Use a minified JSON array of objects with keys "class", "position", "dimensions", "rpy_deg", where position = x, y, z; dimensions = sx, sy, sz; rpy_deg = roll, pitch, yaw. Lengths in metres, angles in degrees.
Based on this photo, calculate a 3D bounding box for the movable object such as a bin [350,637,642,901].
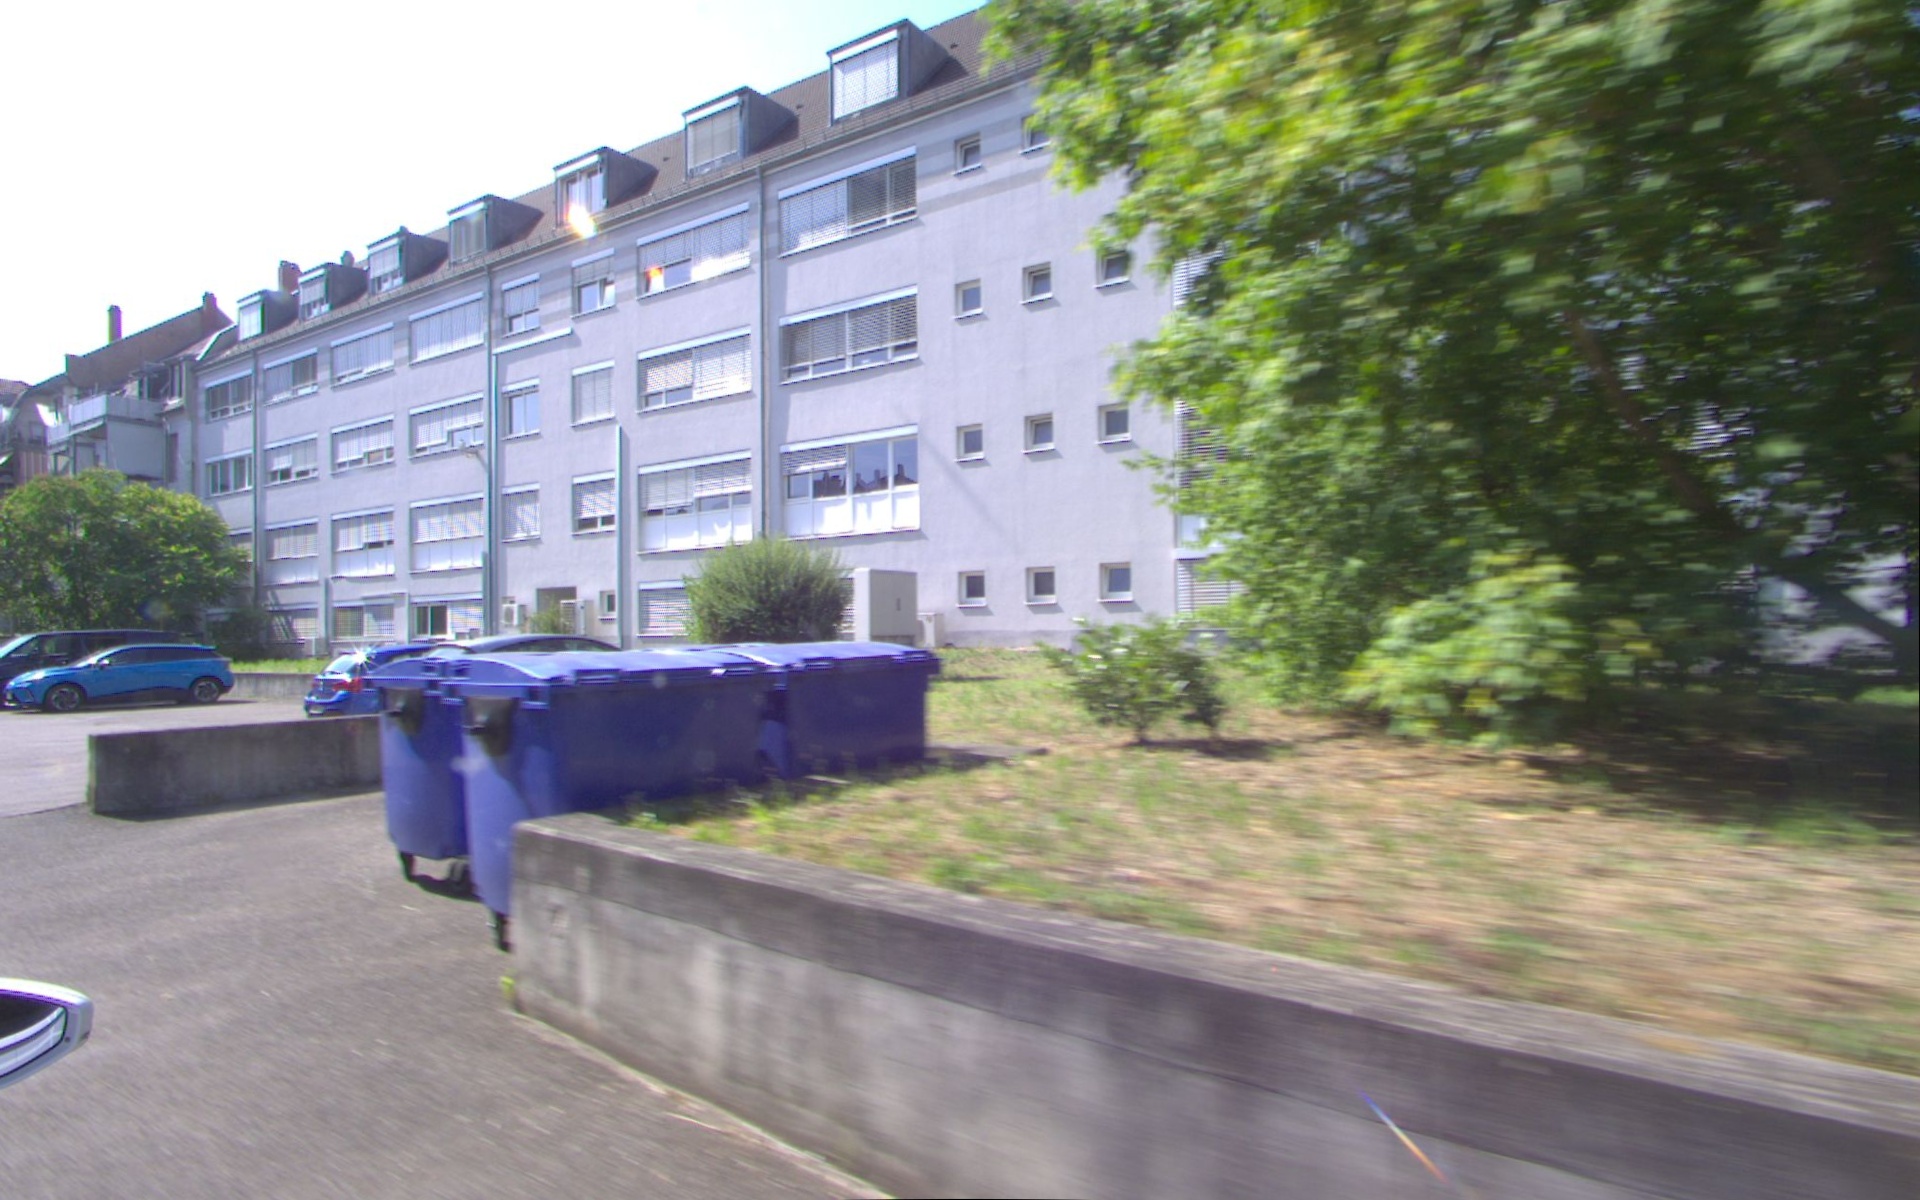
[{"class":"movable object such as a bin","position":[-2.818,0.928,6.136],"dimensions":[1.114,1.373,1.243],"rpy_deg":[-1,-1,36]}]

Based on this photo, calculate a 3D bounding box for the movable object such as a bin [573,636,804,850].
[{"class":"movable object such as a bin","position":[-1.939,0.946,7.204],"dimensions":[1.127,1.353,1.152],"rpy_deg":[-1,-1,36]}]

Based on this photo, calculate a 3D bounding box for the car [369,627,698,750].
[{"class":"car","position":[-5.891,1.134,14.256],"dimensions":[1.788,1.445,3.975],"rpy_deg":[-2,-1,36]}]

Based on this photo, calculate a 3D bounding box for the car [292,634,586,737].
[{"class":"car","position":[-8.415,1.304,16.468],"dimensions":[1.668,1.412,3.972],"rpy_deg":[-2,-1,38]}]

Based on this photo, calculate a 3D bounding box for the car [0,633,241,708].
[{"class":"car","position":[-20.424,1.634,24.502],"dimensions":[1.973,1.552,4.217],"rpy_deg":[0,-1,35]}]

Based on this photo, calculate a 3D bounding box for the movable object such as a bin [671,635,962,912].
[{"class":"movable object such as a bin","position":[-0.823,0.894,5.826],"dimensions":[1.129,1.358,1.241],"rpy_deg":[-2,-1,41]}]

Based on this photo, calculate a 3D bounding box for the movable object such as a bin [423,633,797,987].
[{"class":"movable object such as a bin","position":[-1.649,0.867,4.772],"dimensions":[1.129,1.336,1.241],"rpy_deg":[-3,-1,40]}]

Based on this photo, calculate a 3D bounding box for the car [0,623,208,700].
[{"class":"car","position":[-23.096,1.539,26.304],"dimensions":[2.063,1.791,4.950],"rpy_deg":[0,-1,26]}]
